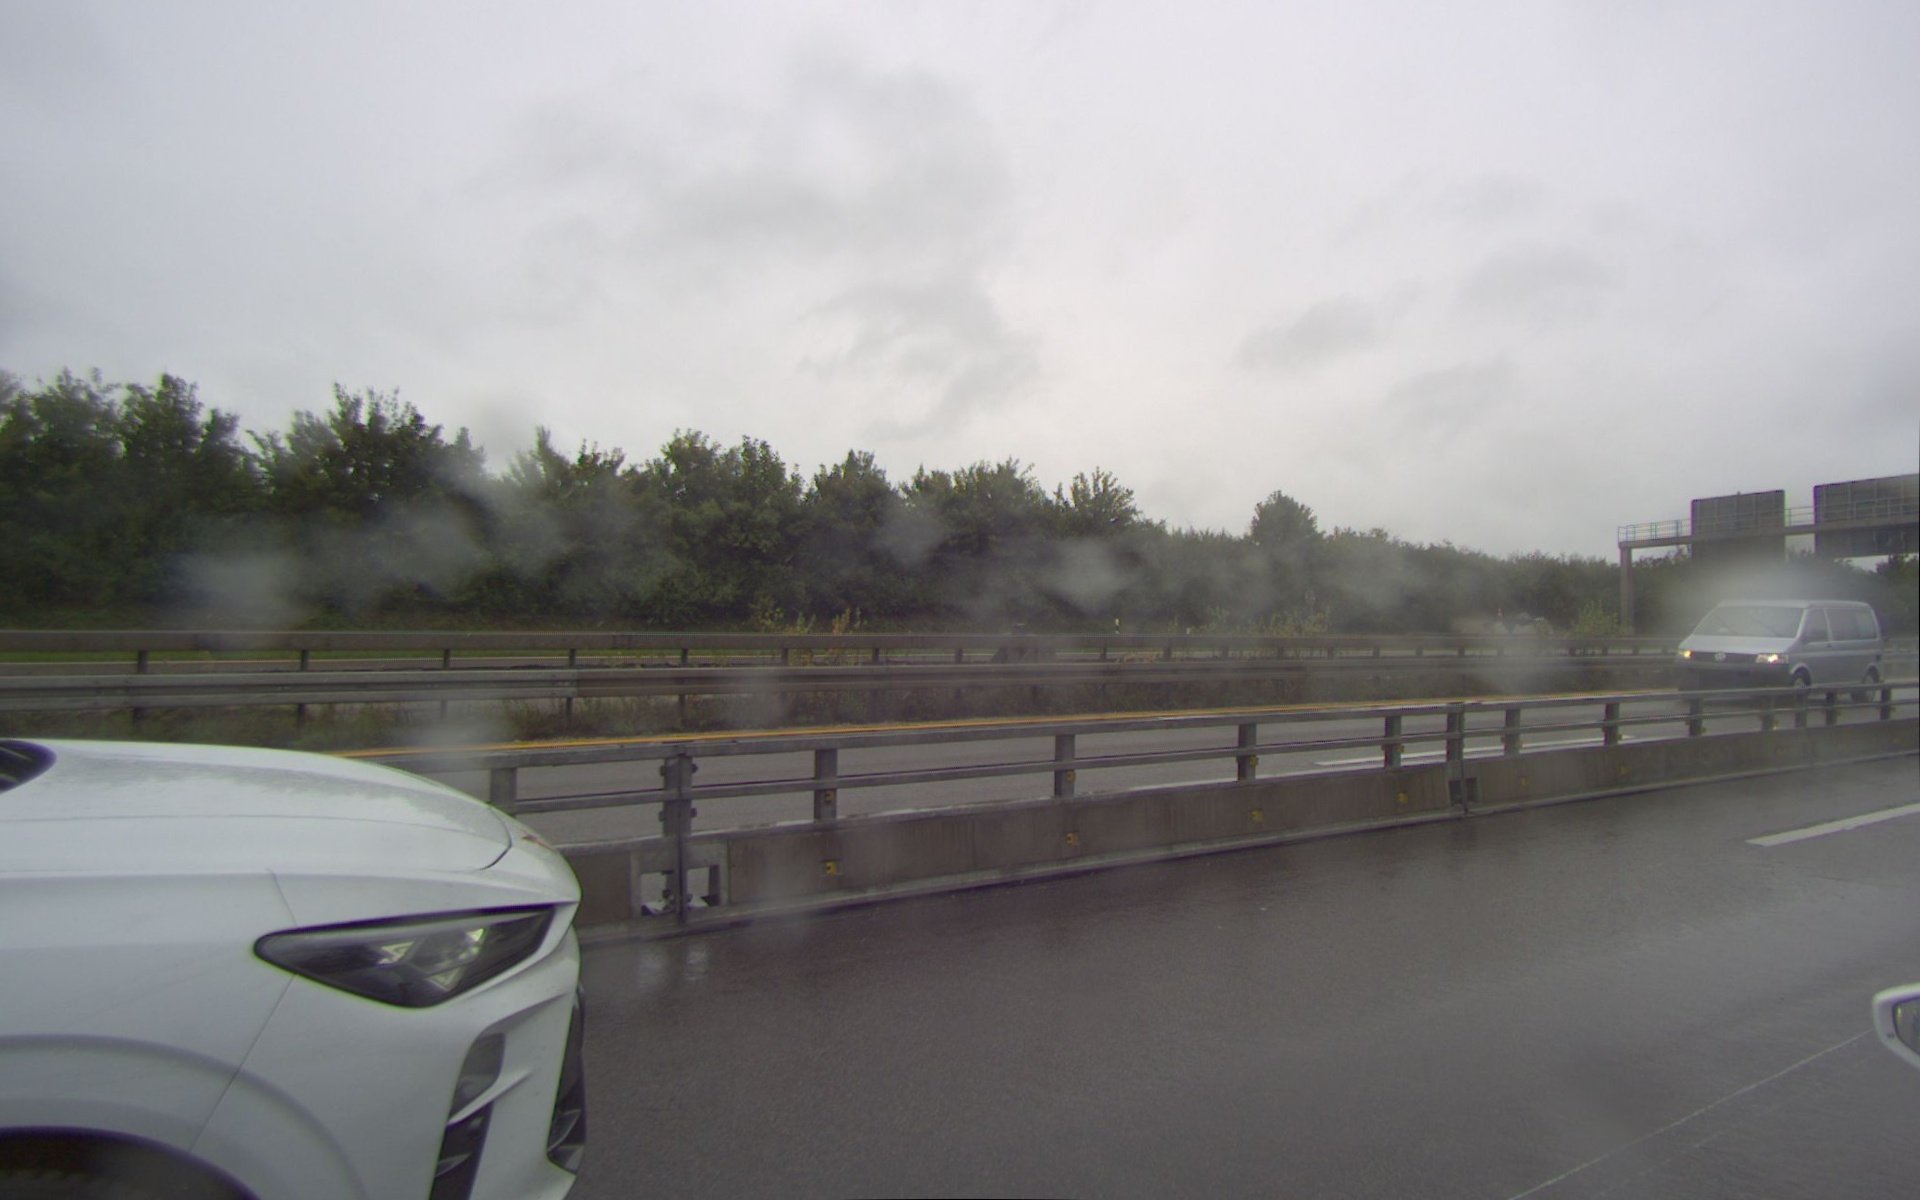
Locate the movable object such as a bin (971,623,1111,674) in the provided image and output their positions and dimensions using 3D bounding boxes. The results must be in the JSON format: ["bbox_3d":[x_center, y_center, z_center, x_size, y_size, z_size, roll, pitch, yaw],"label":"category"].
[{"bbox_3d":[2.593,1.548,32.134,3.953,1.444,2.116,2,0,-30],"label":"movable object such as a bin"}]

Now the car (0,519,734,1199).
[{"bbox_3d":[-3.017,0.629,1.334,4.948,1.571,1.918,2,0,-30],"label":"car"}]

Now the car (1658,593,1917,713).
[{"bbox_3d":[16.186,1.009,19.557,5.758,2.040,1.900,2,0,-29],"label":"car"}]
